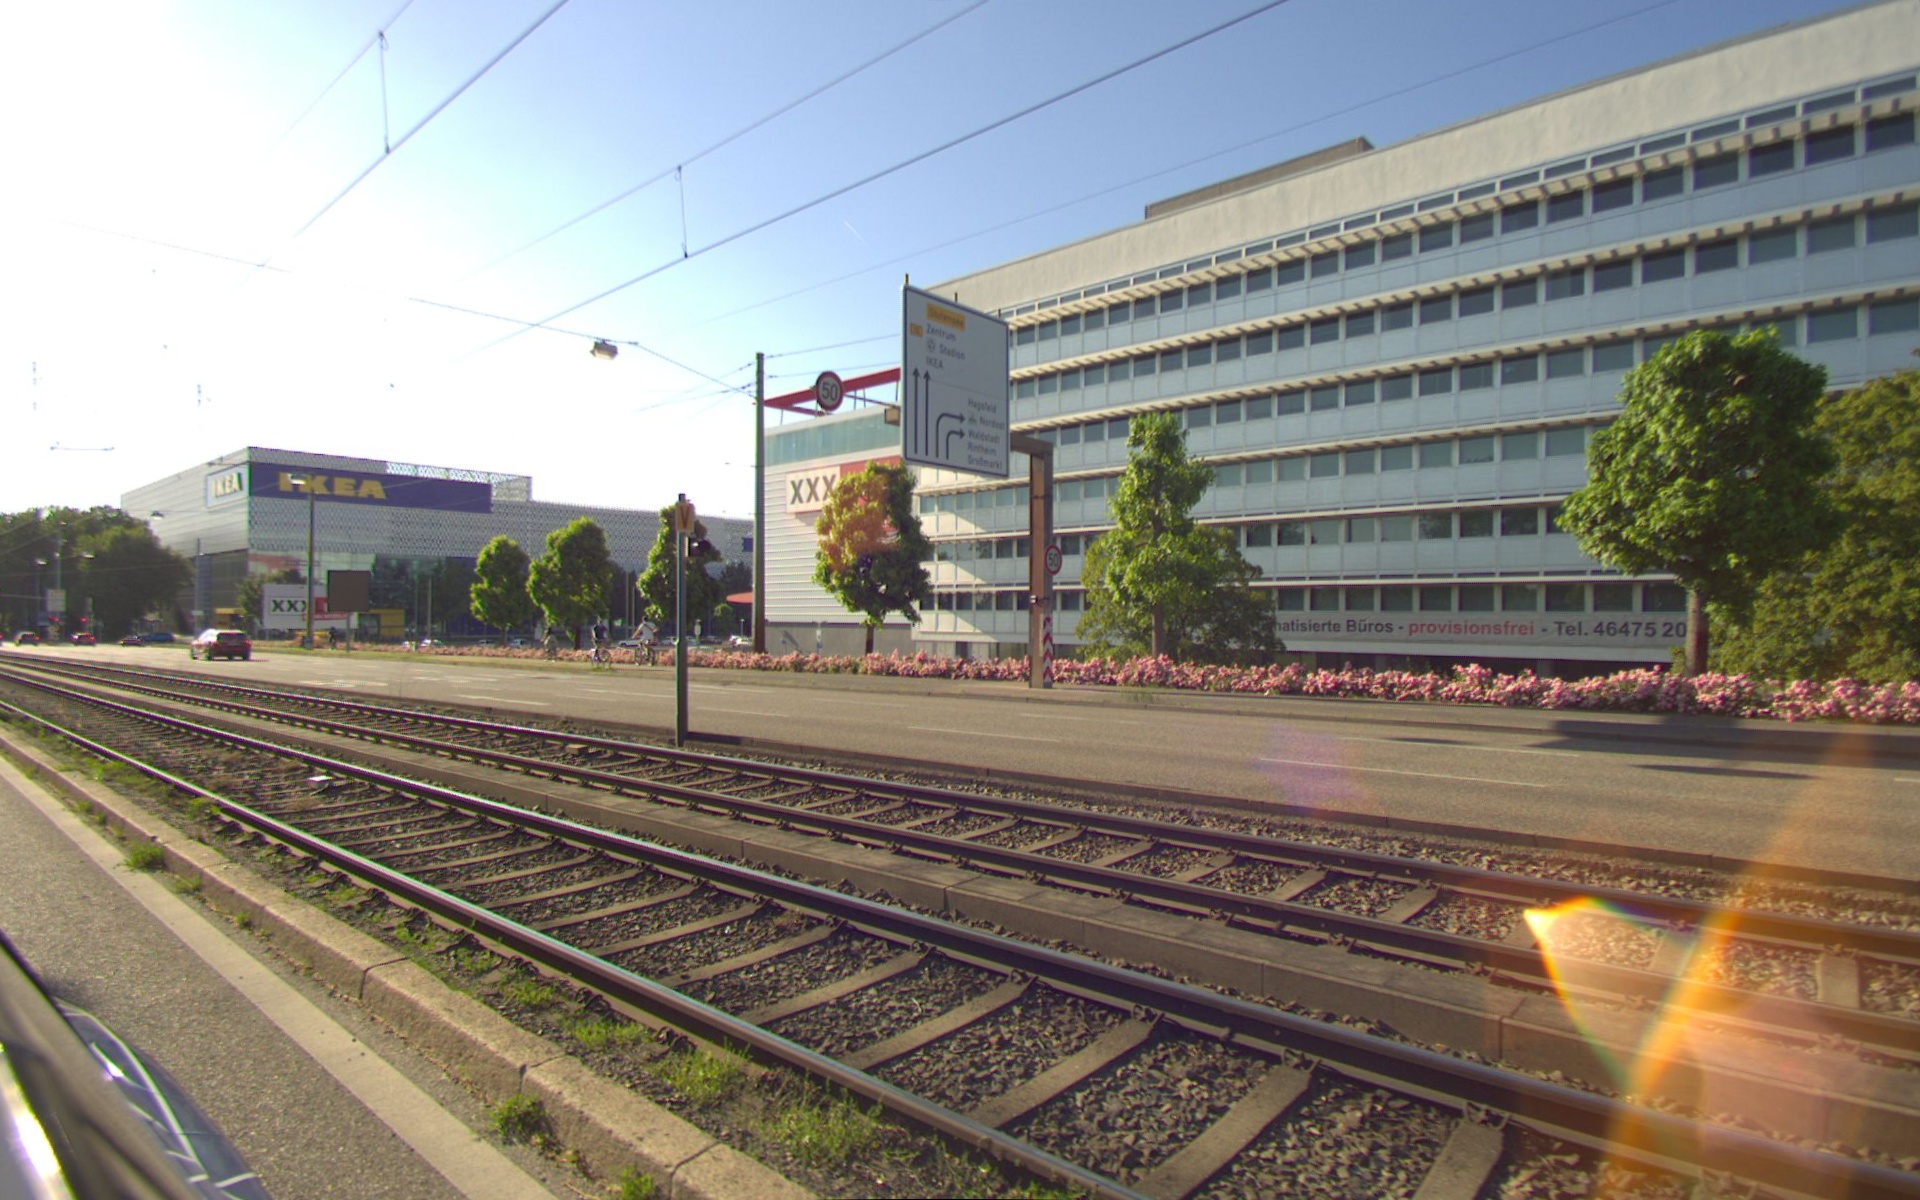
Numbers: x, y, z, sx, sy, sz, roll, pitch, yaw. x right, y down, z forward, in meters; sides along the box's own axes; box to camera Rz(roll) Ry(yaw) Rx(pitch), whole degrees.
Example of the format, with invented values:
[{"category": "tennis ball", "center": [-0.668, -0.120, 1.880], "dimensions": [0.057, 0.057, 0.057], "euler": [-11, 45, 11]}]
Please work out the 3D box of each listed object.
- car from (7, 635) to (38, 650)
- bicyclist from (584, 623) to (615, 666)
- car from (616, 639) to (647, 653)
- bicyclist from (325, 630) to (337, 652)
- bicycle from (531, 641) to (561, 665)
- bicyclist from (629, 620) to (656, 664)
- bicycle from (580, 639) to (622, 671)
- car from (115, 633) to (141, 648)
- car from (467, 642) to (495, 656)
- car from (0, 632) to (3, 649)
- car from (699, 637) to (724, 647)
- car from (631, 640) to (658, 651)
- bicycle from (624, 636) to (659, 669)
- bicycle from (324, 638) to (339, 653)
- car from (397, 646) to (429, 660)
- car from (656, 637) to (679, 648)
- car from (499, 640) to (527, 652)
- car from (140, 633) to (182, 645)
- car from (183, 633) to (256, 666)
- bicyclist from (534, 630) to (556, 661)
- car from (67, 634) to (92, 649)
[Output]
[{"category": "car", "center": [-98.368, 4.436, 106.152], "dimensions": [4.133, 1.472, 1.838], "euler": [-2, -2, 39]}, {"category": "bicyclist", "center": [-13.251, 1.608, 37.192], "dimensions": [0.696, 1.523, 0.971], "euler": [-2, 0, -43]}, {"category": "car", "center": [-48.827, 6.860, 150.416], "dimensions": [4.160, 1.813, 1.831], "euler": [-2, 0, -12]}, {"category": "bicyclist", "center": [-49.042, 3.181, 78.931], "dimensions": [0.653, 1.635, 0.802], "euler": [-2, 0, -40]}, {"category": "bicycle", "center": [-19.091, 2.431, 46.629], "dimensions": [1.703, 1.067, 0.618], "euler": [-2, -2, 43]}, {"category": "bicyclist", "center": [-12.385, 1.619, 39.430], "dimensions": [0.595, 1.671, 0.964], "euler": [-2, 0, -42]}, {"category": "bicycle", "center": [-13.192, 2.005, 37.148], "dimensions": [0.696, 1.081, 2.029], "euler": [-3, 0, -43]}, {"category": "car", "center": [-90.971, 4.447, 110.712], "dimensions": [1.796, 1.655, 4.010], "euler": [2, -3, -35]}, {"category": "car", "center": [-66.051, 6.692, 139.514], "dimensions": [3.993, 1.758, 1.912], "euler": [-2, 0, 37]}, {"category": "car", "center": [-95.493, 3.925, 99.177], "dimensions": [4.656, 1.668, 1.972], "euler": [-2, -3, 42]}, {"category": "car", "center": [-40.909, 6.906, 166.517], "dimensions": [3.998, 1.668, 1.972], "euler": [-2, -2, 42]}, {"category": "car", "center": [-49.050, 7.015, 157.169], "dimensions": [4.431, 1.563, 1.652], "euler": [-2, 0, 37]}, {"category": "bicycle", "center": [-12.459, 2.023, 39.535], "dimensions": [0.595, 1.228, 1.751], "euler": [-2, 0, -41]}, {"category": "bicycle", "center": [-49.006, 3.541, 78.906], "dimensions": [0.653, 1.159, 2.025], "euler": [-2, 0, -40]}, {"category": "car", "center": [-71.876, 6.986, 133.007], "dimensions": [4.408, 1.723, 1.976], "euler": [-2, 0, 36]}, {"category": "car", "center": [-46.705, 6.826, 161.385], "dimensions": [3.998, 1.668, 1.705], "euler": [-2, -2, 42]}, {"category": "car", "center": [-63.304, 6.548, 143.401], "dimensions": [3.993, 1.605, 1.912], "euler": [-2, 0, 37]}, {"category": "car", "center": [-108.445, 5.276, 137.414], "dimensions": [4.194, 1.509, 2.017], "euler": [4, -4, -44]}, {"category": "car", "center": [-38.158, 2.503, 52.083], "dimensions": [4.885, 1.514, 2.018], "euler": [-1, -1, 41]}, {"category": "bicyclist", "center": [-19.137, 2.098, 46.684], "dimensions": [0.880, 1.384, 0.618], "euler": [-2, -2, 43]}, {"category": "car", "center": [-94.186, 4.466, 108.304], "dimensions": [1.911, 1.488, 4.138], "euler": [3, -3, -41]}]
